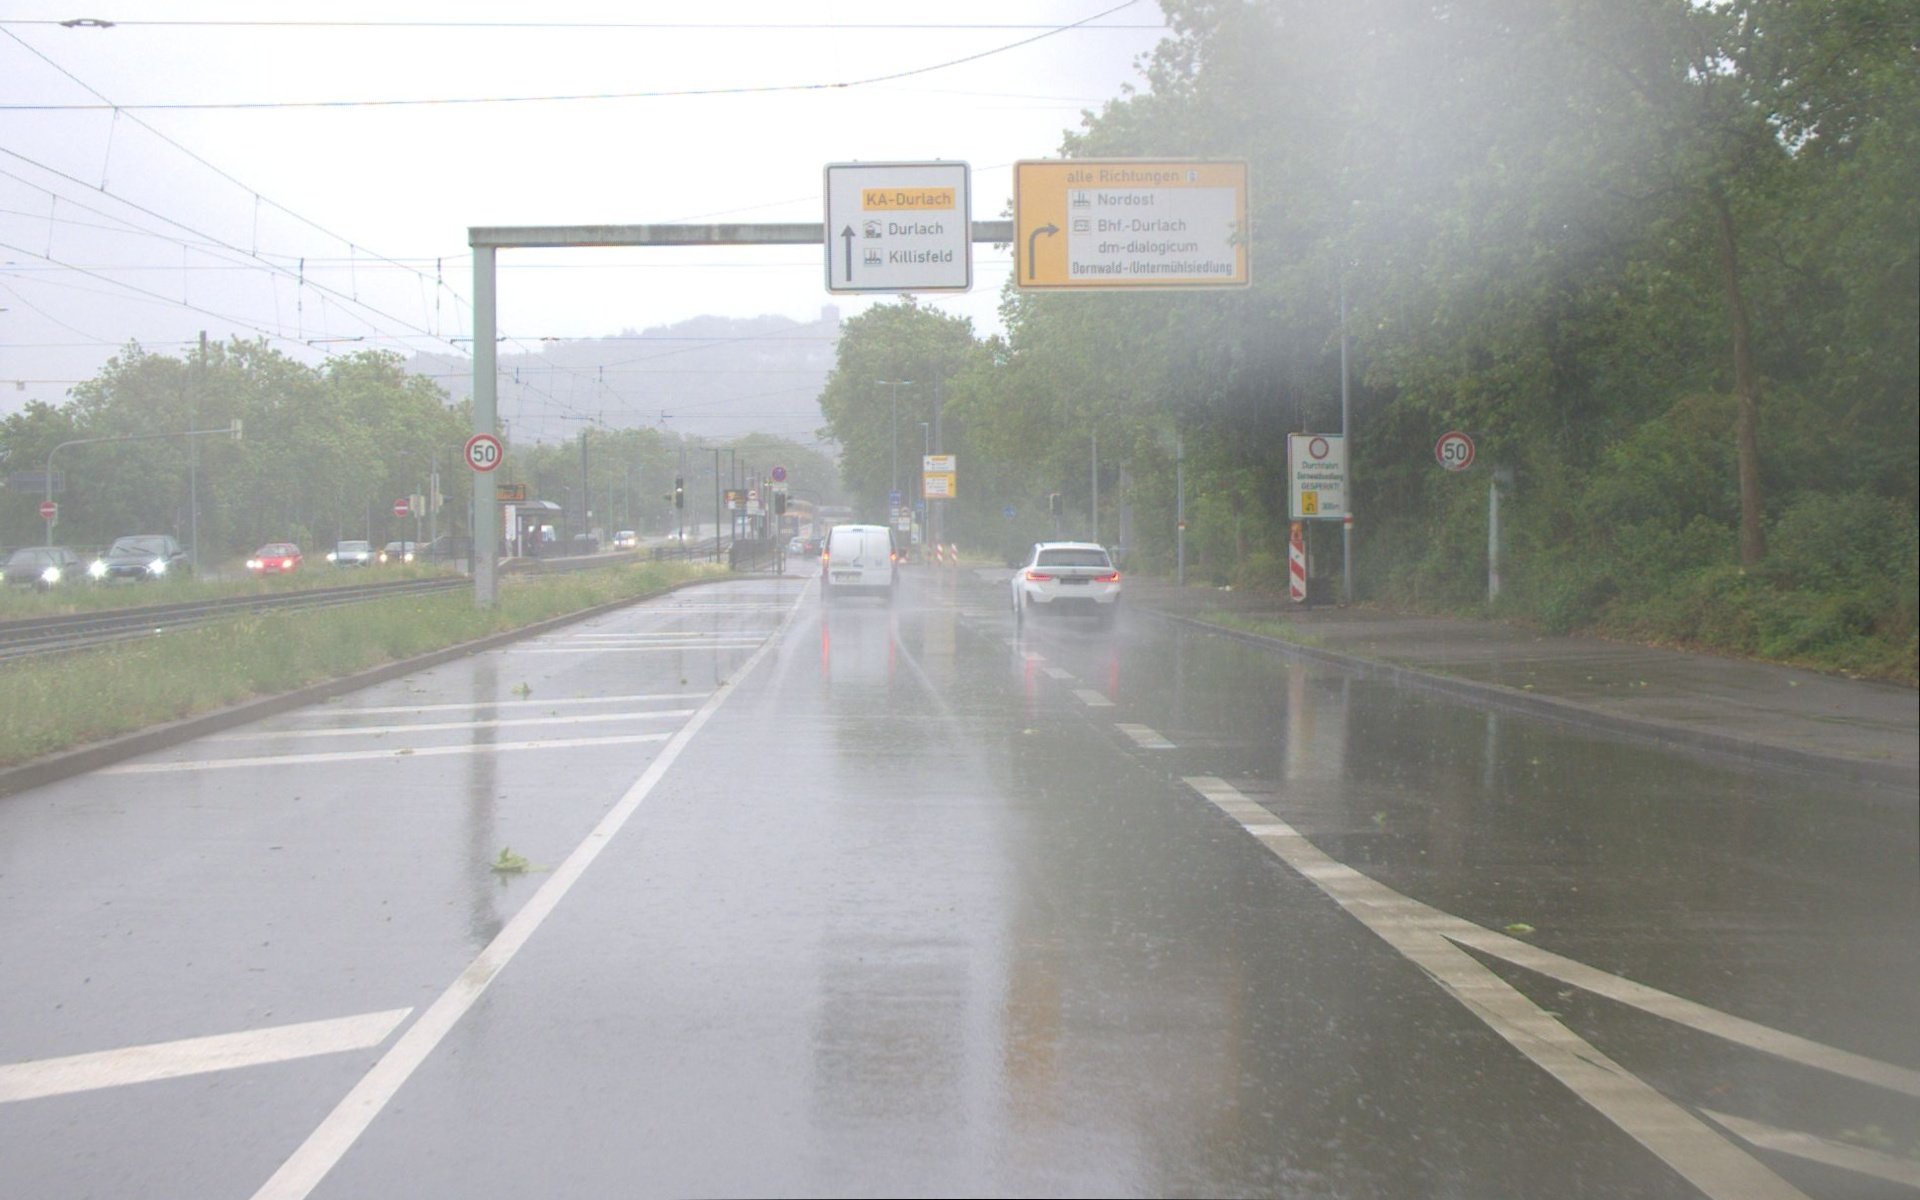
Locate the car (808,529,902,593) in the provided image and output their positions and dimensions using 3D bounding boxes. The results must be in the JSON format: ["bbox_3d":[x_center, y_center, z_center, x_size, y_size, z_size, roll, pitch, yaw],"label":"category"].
[{"bbox_3d":[-2.376,-0.899,77.876,2.077,1.415,4.000,0,1,-2],"label":"car"}]

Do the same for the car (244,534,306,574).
[{"bbox_3d":[-26.001,-1.766,130.660,1.720,1.489,4.001,0,1,-2],"label":"car"}]

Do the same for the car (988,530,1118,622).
[{"bbox_3d":[1.601,-0.442,60.453,1.948,1.531,4.467,0,1,-3],"label":"car"}]

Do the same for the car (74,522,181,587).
[{"bbox_3d":[-21.302,-1.195,88.162,1.943,1.610,4.990,0,1,-5],"label":"car"}]

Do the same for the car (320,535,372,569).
[{"bbox_3d":[-26.863,-2.103,150.477,1.720,1.489,4.001,0,1,-2],"label":"car"}]

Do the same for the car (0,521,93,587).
[{"bbox_3d":[-24.180,-1.226,90.346,1.943,1.680,4.781,0,1,-5],"label":"car"}]
